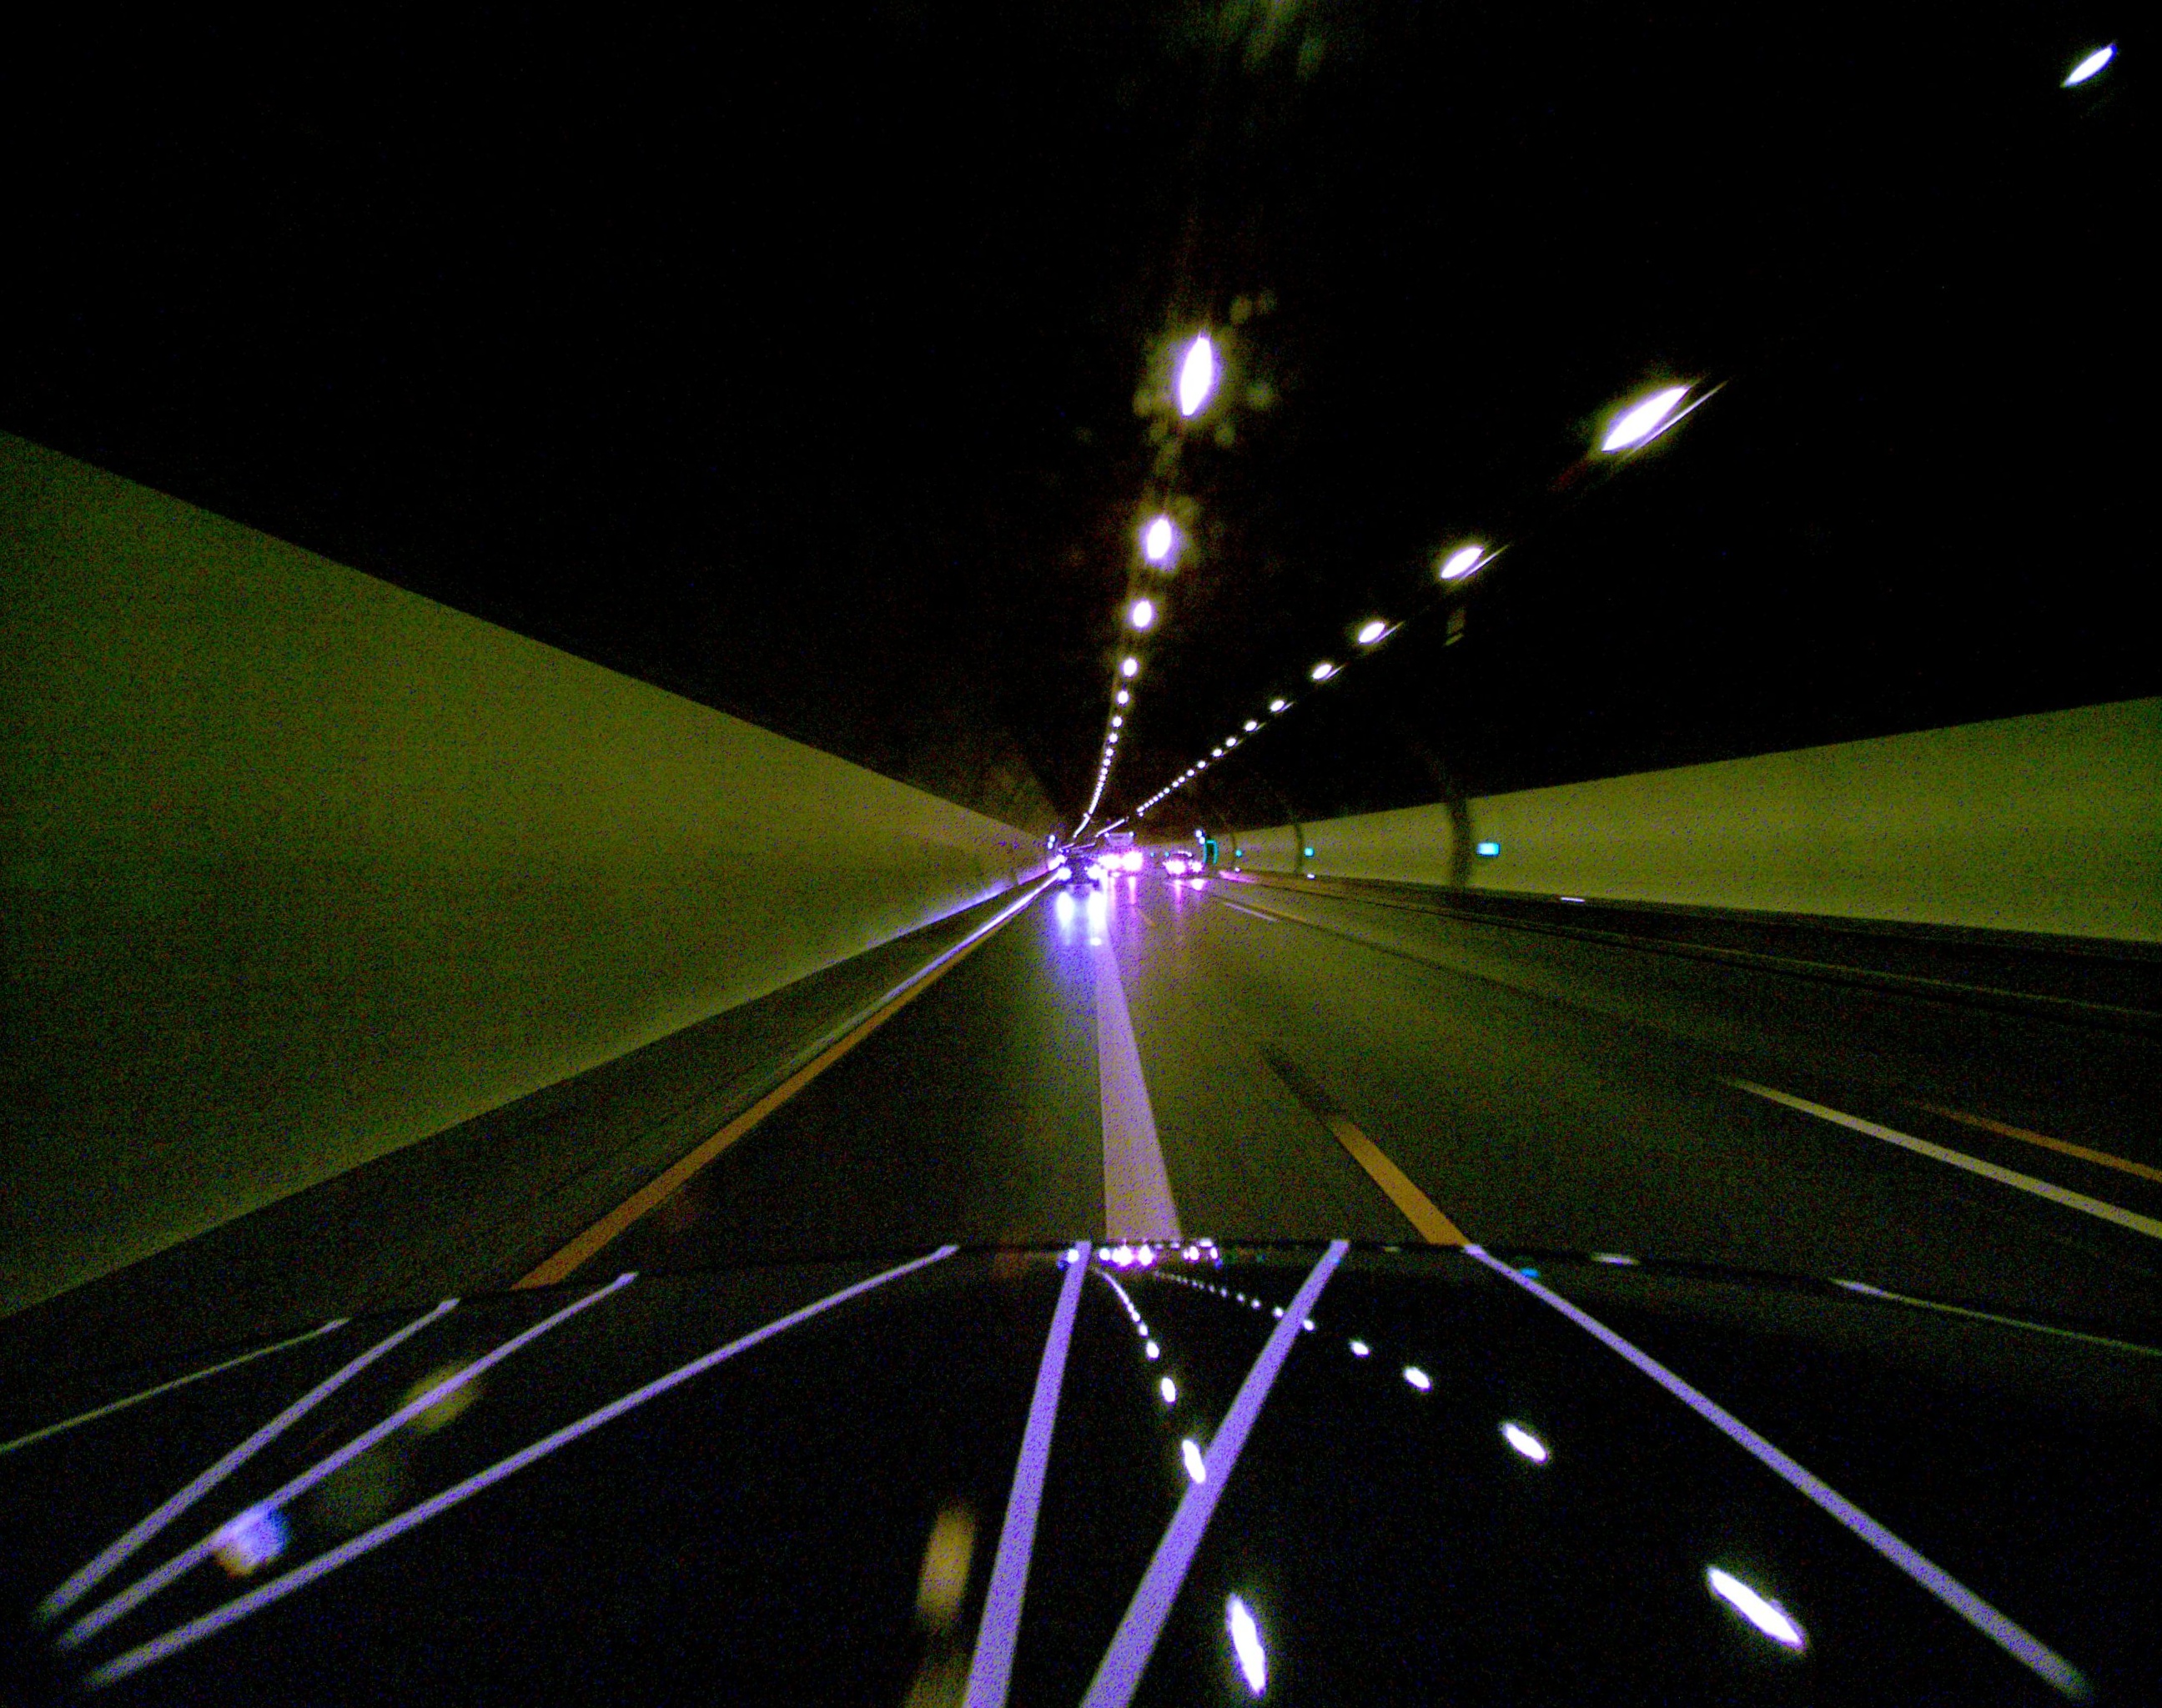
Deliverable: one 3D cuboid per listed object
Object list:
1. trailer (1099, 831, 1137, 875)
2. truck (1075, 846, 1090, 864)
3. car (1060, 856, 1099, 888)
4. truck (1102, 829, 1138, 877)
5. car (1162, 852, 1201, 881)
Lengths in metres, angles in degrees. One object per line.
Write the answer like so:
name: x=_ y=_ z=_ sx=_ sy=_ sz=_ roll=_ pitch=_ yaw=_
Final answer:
trailer: x=2.935 y=-0.079 z=63.523 sx=2.374 sy=3.328 sz=12.077 roll=0 pitch=0 yaw=-1
truck: x=0.256 y=0.272 z=123.295 sx=2.151 sy=2.608 sz=9.908 roll=-1 pitch=-1 yaw=0
car: x=-0.024 y=0.843 z=37.926 sx=1.727 sy=1.474 sz=4.001 roll=-1 pitch=0 yaw=2
truck: x=2.897 y=-0.111 z=57.009 sx=2.374 sy=3.328 sz=4.719 roll=-3 pitch=0 yaw=2
car: x=6.072 y=0.723 z=46.264 sx=1.766 sy=1.563 sz=4.097 roll=-2 pitch=1 yaw=-1
